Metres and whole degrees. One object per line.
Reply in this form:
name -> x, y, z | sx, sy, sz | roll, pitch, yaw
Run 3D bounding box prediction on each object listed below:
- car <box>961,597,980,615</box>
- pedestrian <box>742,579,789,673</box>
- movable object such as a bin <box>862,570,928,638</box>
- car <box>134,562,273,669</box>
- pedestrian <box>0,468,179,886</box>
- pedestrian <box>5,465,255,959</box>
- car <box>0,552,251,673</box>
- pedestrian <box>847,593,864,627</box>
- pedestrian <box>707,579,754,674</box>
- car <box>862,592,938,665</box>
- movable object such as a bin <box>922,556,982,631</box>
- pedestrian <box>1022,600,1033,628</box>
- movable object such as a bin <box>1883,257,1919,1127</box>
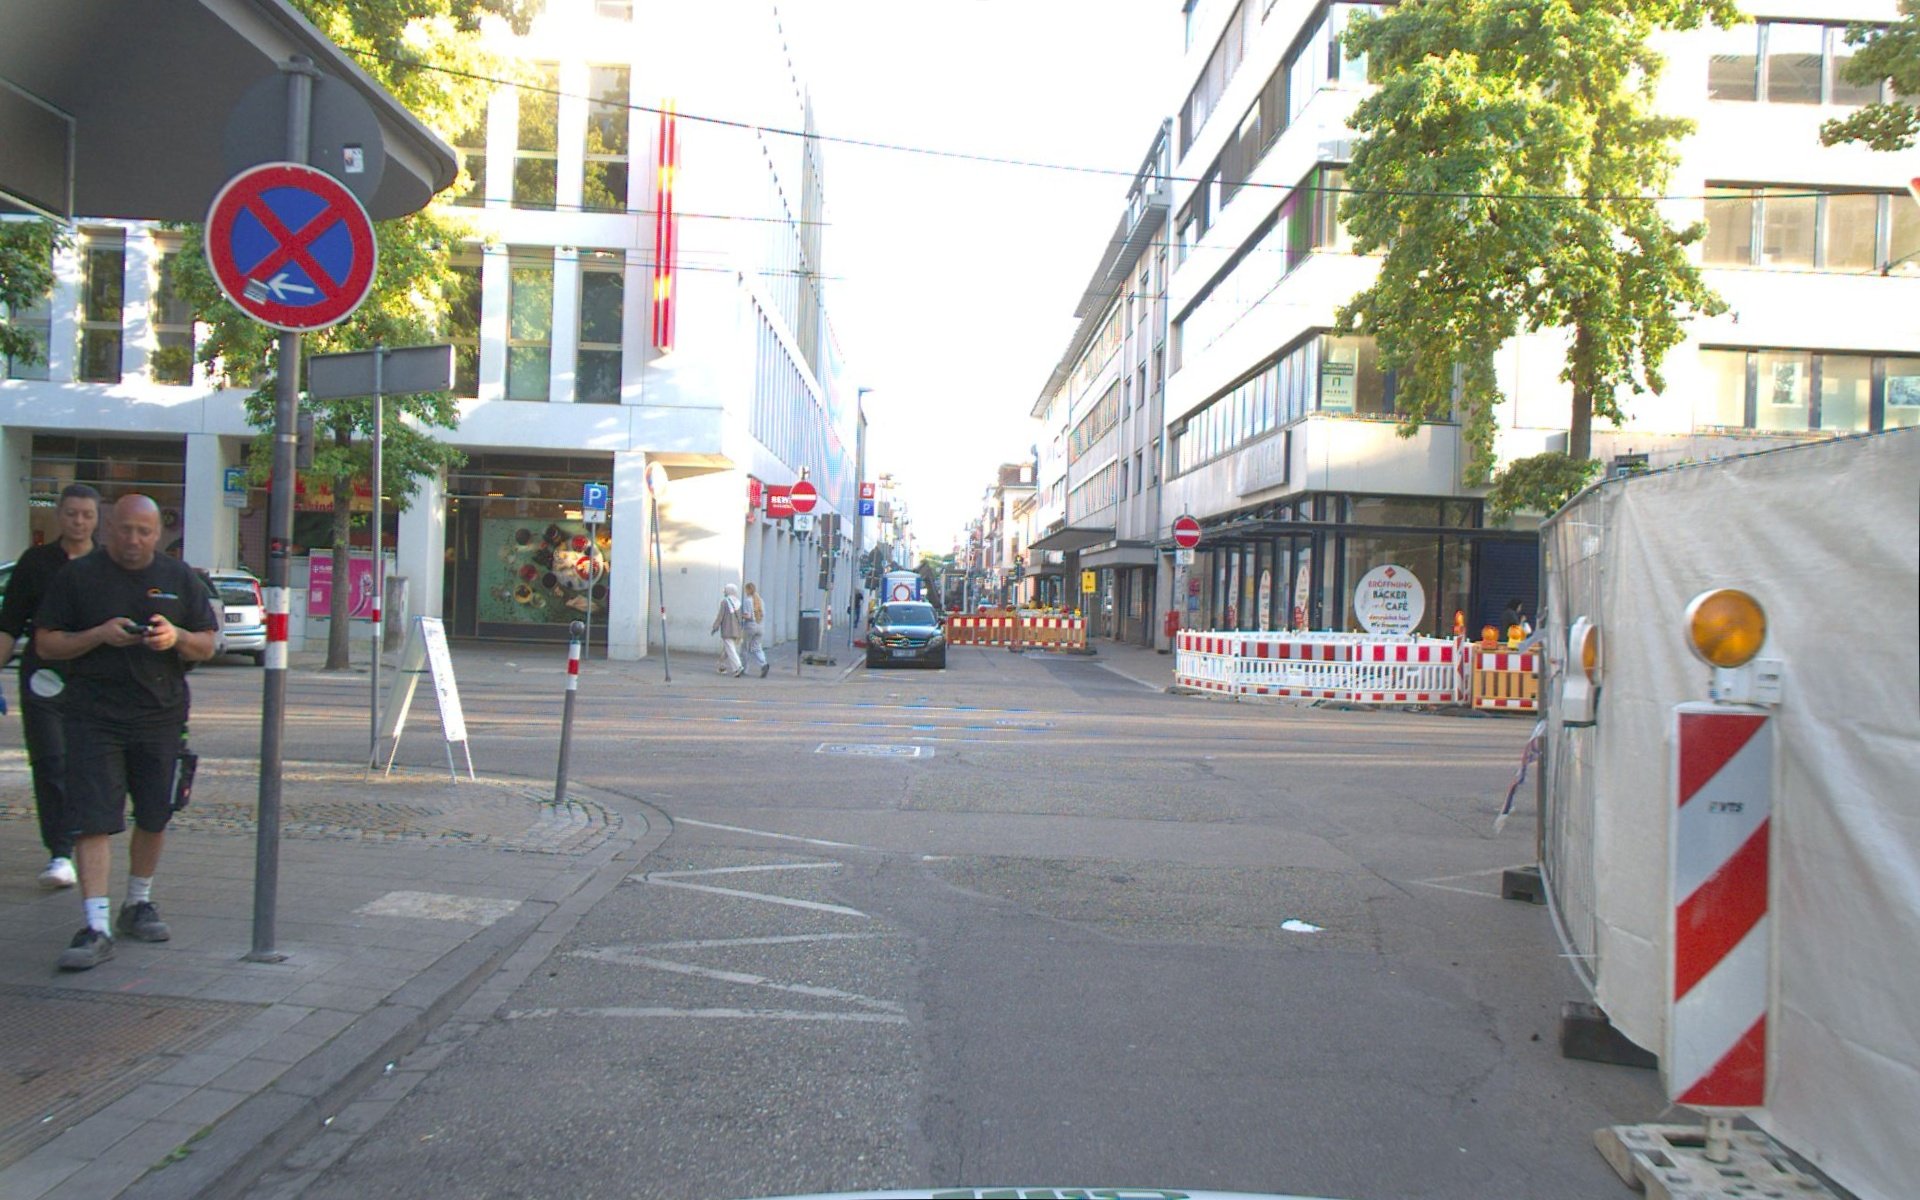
car -> 1.098, 0.630, 176.648 | 1.953, 1.808, 3.999 | 1, 0, -1
pedestrian -> -3.487, 0.461, 29.575 | 0.601, 1.656, 0.867 | 1, 0, -23
movable object such as a bin -> -2.021, 0.113, 52.638 | 1.953, 2.049, 3.999 | 1, 0, -1
car -> -12.793, 0.214, 27.840 | 1.922, 1.531, 3.963 | 1, 3, -28
pedestrian -> -3.894, 0.314, 7.220 | 0.786, 1.697, 0.895 | 3, 0, -26
pedestrian -> -2.998, 0.398, 6.033 | 0.675, 1.697, 0.503 | 3, -1, -21
car -> -12.835, 0.181, 24.056 | 4.187, 1.621, 1.826 | 2, -2, -5
pedestrian -> -4.679, 0.447, 74.081 | 0.701, 1.490, 0.525 | 1, 0, 1
pedestrian -> -4.074, 0.456, 29.324 | 0.601, 1.656, 0.867 | 1, 0, -23
car -> -1.400, 0.612, 37.522 | 1.597, 1.577, 3.139 | 1, 0, -4
movable object such as a bin -> -0.339, -0.234, 62.652 | 2.113, 2.710, 4.571 | 1, 0, -1
pedestrian -> 3.650, 0.740, 89.377 | 0.512, 1.490, 0.719 | 2, 0, 7
movable object such as a bin -> 4.494, 0.319, 3.503 | 2.552, 2.888, 4.449 | 1, 0, -1
